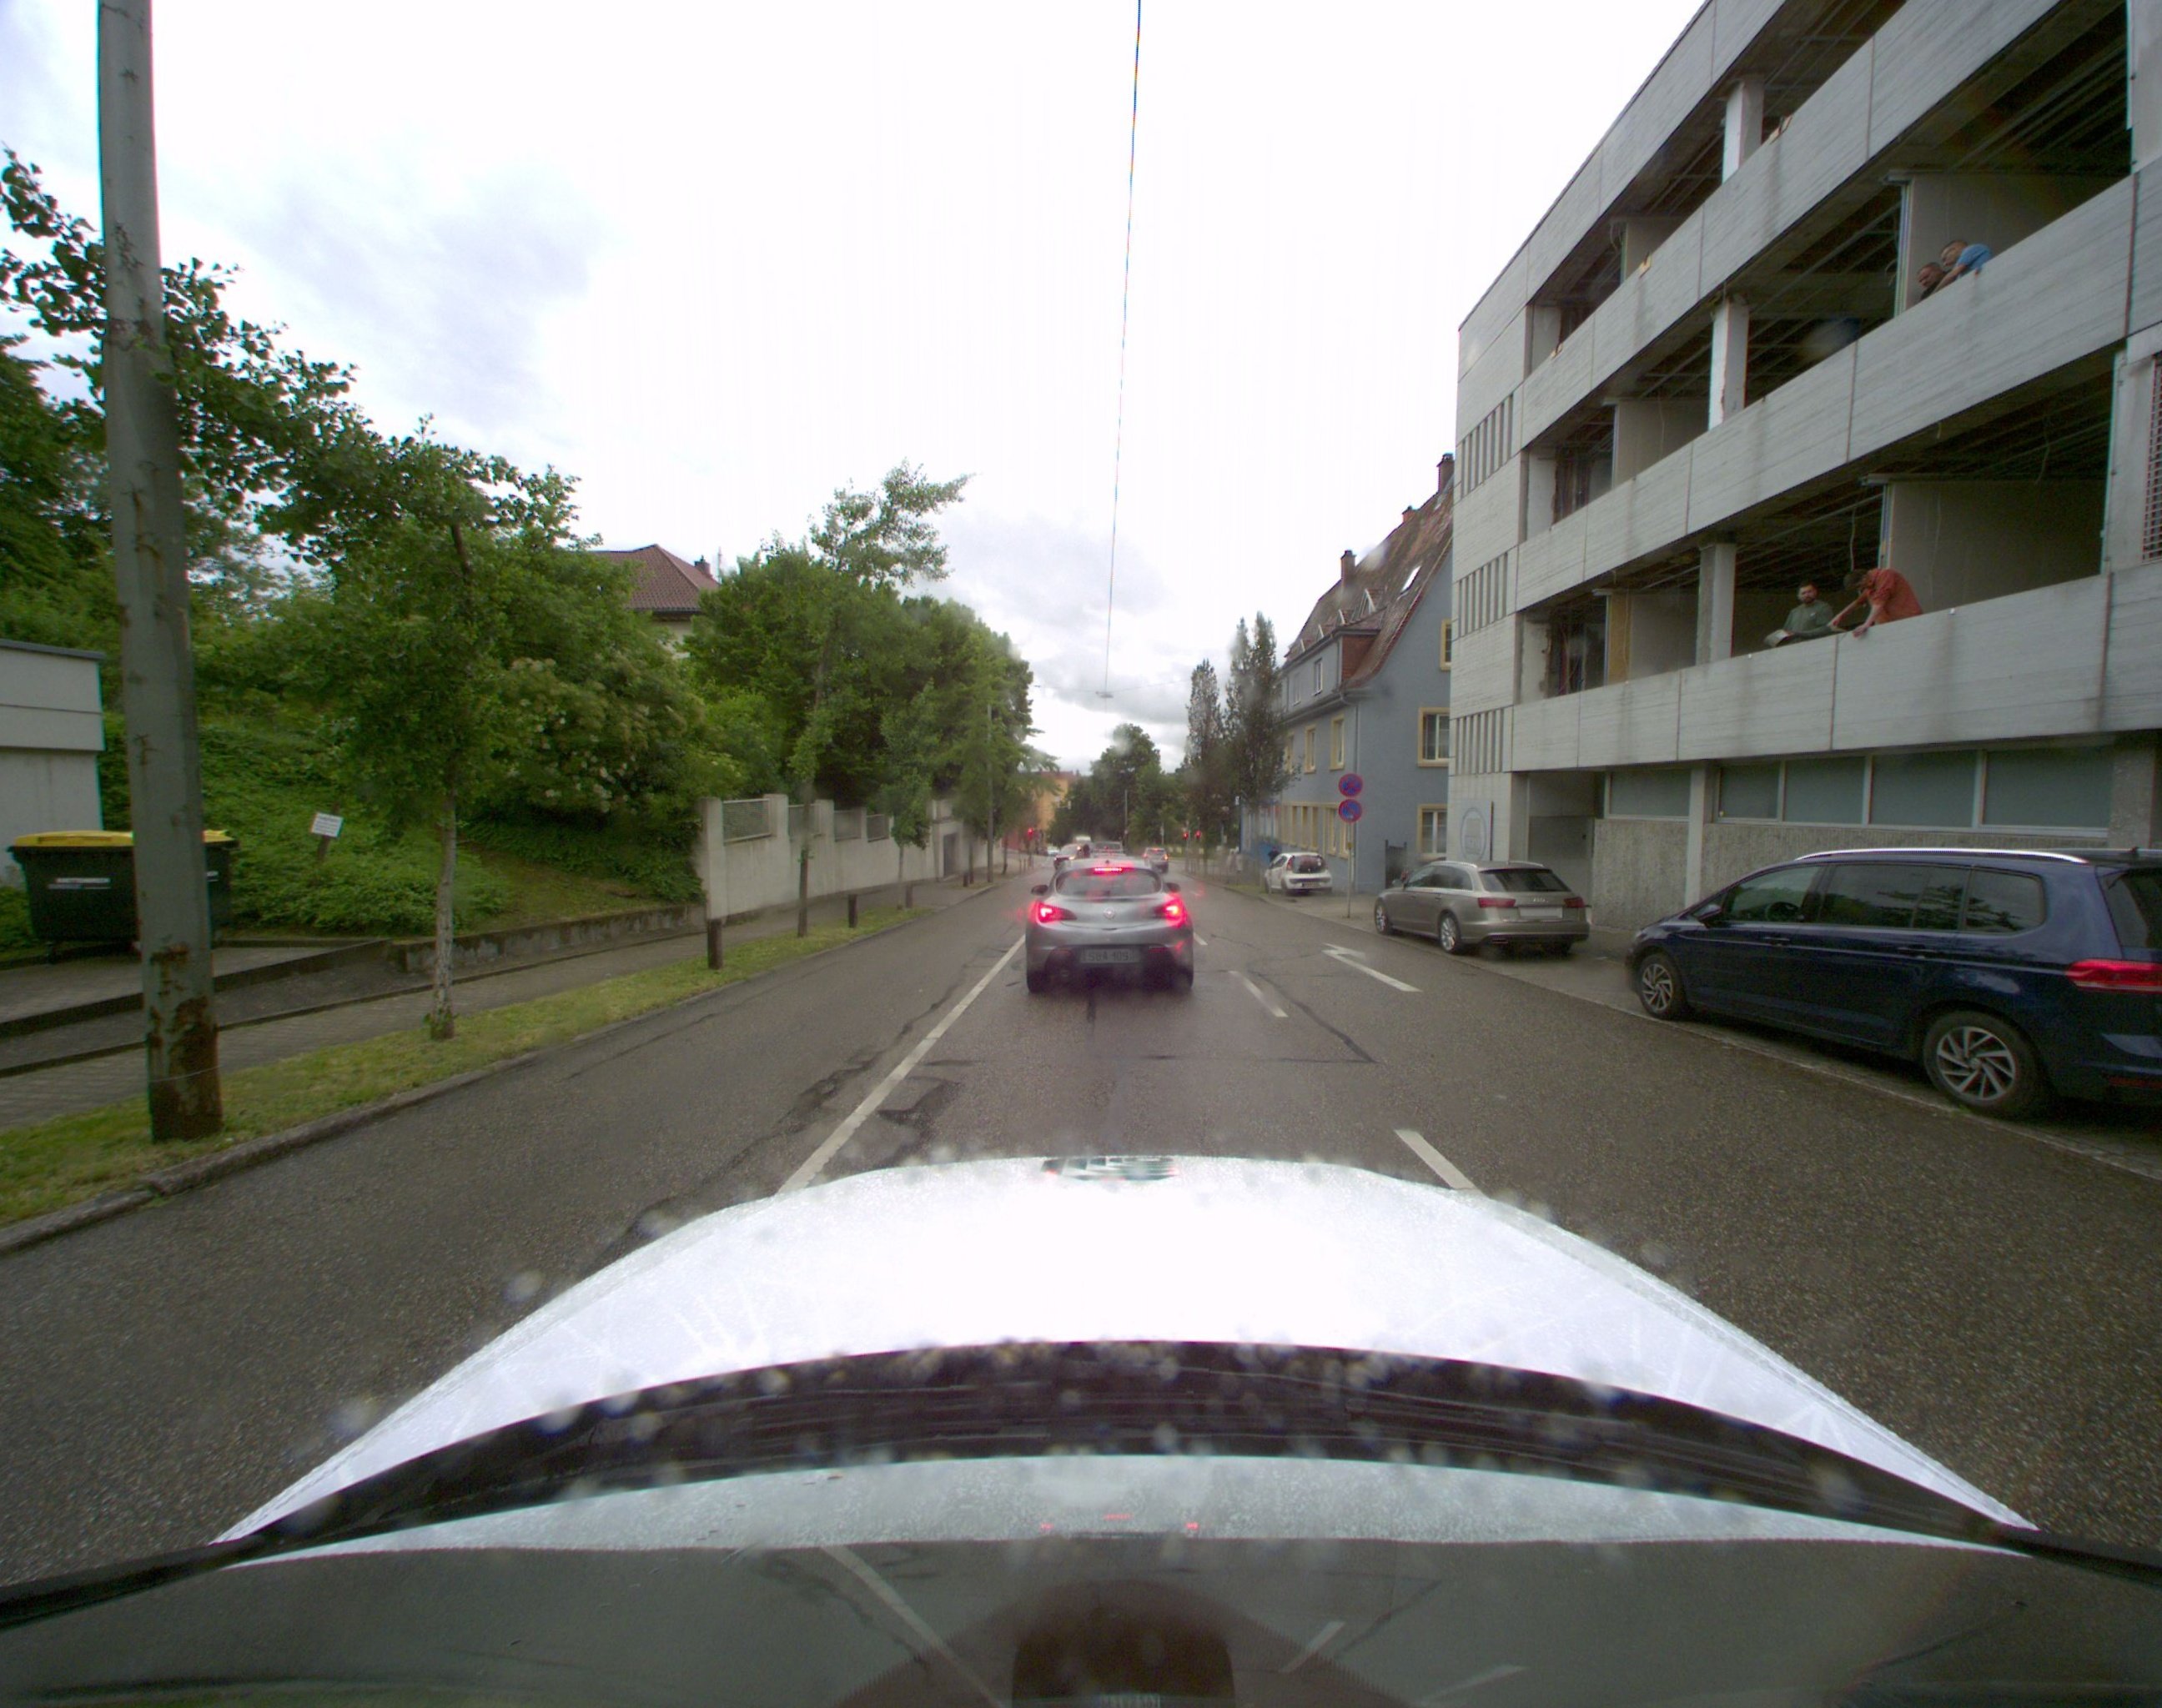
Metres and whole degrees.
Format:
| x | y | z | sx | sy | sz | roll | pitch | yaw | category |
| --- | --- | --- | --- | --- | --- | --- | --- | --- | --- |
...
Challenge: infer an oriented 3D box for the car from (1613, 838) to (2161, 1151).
| x | y | z | sx | sy | sz | roll | pitch | yaw | category |
| --- | --- | --- | --- | --- | --- | --- | --- | --- | --- |
| 6.304 | 0.699 | 6.252 | 1.723 | 1.599 | 4.160 | -1 | 0 | 0 | car |

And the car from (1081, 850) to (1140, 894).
| x | y | z | sx | sy | sz | roll | pitch | yaw | category |
| --- | --- | --- | --- | --- | --- | --- | --- | --- | --- |
| 1.032 | 0.600 | 29.628 | 1.955 | 1.448 | 4.306 | 1 | 0 | 1 | car |

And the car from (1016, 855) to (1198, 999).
| x | y | z | sx | sy | sz | roll | pitch | yaw | category |
| --- | --- | --- | --- | --- | --- | --- | --- | --- | --- |
| 0.266 | 0.737 | 10.167 | 1.831 | 1.434 | 3.879 | 0 | 0 | 0 | car |

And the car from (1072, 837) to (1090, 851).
| x | y | z | sx | sy | sz | roll | pitch | yaw | category |
| --- | --- | --- | --- | --- | --- | --- | --- | --- | --- |
| -0.059 | -1.240 | 100.529 | 1.721 | 1.638 | 3.870 | -1 | 0 | -7 | car |

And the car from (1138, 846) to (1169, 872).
| x | y | z | sx | sy | sz | roll | pitch | yaw | category |
| --- | --- | --- | --- | --- | --- | --- | --- | --- | --- |
| 4.910 | 0.320 | 55.246 | 1.717 | 1.714 | 3.879 | -1 | 0 | 0 | car |

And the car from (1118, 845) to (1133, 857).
| x | y | z | sx | sy | sz | roll | pitch | yaw | category |
| --- | --- | --- | --- | --- | --- | --- | --- | --- | --- |
| 5.948 | -0.390 | 109.045 | 1.718 | 1.638 | 3.877 | -1 | 0 | -2 | car |

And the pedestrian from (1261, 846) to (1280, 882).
| x | y | z | sx | sy | sz | roll | pitch | yaw | category |
| --- | --- | --- | --- | --- | --- | --- | --- | --- | --- |
| 9.190 | 0.471 | 39.465 | 0.780 | 1.729 | 0.651 | 1 | 0 | 1 | pedestrian |

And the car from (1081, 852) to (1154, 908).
| x | y | z | sx | sy | sz | roll | pitch | yaw | category |
| --- | --- | --- | --- | --- | --- | --- | --- | --- | --- |
| 1.029 | 0.700 | 24.243 | 1.955 | 1.448 | 4.306 | 1 | 0 | 1 | car |

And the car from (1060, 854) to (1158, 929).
| x | y | z | sx | sy | sz | roll | pitch | yaw | category |
| --- | --- | --- | --- | --- | --- | --- | --- | --- | --- |
| 0.593 | 0.755 | 18.528 | 1.955 | 1.448 | 4.306 | 1 | 0 | 1 | car |

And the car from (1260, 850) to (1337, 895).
| x | y | z | sx | sy | sz | roll | pitch | yaw | category |
| --- | --- | --- | --- | --- | --- | --- | --- | --- | --- |
| 7.575 | 0.612 | 28.728 | 1.717 | 1.448 | 3.880 | -1 | 0 | 1 | car |

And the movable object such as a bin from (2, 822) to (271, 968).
| x | y | z | sx | sy | sz | roll | pitch | yaw | category |
| --- | --- | --- | --- | --- | --- | --- | --- | --- | --- |
| -10.020 | 0.395 | 8.745 | 1.296 | 1.363 | 1.225 | 0 | 6 | -5 | movable object such as a bin |

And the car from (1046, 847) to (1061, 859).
| x | y | z | sx | sy | sz | roll | pitch | yaw | category |
| --- | --- | --- | --- | --- | --- | --- | --- | --- | --- |
| -3.612 | -0.165 | 106.804 | 1.717 | 1.460 | 3.880 | -1 | 0 | 1 | car |

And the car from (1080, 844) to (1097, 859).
| x | y | z | sx | sy | sz | roll | pitch | yaw | category |
| --- | --- | --- | --- | --- | --- | --- | --- | --- | --- |
| 0.856 | -0.310 | 92.861 | 1.864 | 1.638 | 3.880 | -1 | 0 | 1 | car |

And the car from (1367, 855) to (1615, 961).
| x | y | z | sx | sy | sz | roll | pitch | yaw | category |
| --- | --- | --- | --- | --- | --- | --- | --- | --- | --- |
| 6.640 | 0.771 | 13.859 | 1.956 | 1.448 | 4.526 | 0 | 0 | 0 | car |

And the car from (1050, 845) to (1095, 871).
| x | y | z | sx | sy | sz | roll | pitch | yaw | category |
| --- | --- | --- | --- | --- | --- | --- | --- | --- | --- |
| -0.586 | 0.259 | 60.547 | 1.731 | 1.828 | 4.483 | -2 | 0 | 22 | car |

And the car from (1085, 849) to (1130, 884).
| x | y | z | sx | sy | sz | roll | pitch | yaw | category |
| --- | --- | --- | --- | --- | --- | --- | --- | --- | --- |
| 1.170 | 0.523 | 37.291 | 1.955 | 1.448 | 4.306 | 1 | 0 | 1 | car |

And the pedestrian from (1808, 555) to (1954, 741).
| x | y | z | sx | sy | sz | roll | pitch | yaw | category |
| --- | --- | --- | --- | --- | --- | --- | --- | --- | --- |
| 9.558 | -2.430 | 9.776 | 0.904 | 2.014 | 0.861 | 0 | -1 | 1 | pedestrian |

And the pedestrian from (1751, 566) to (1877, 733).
| x | y | z | sx | sy | sz | roll | pitch | yaw | category |
| --- | --- | --- | --- | --- | --- | --- | --- | --- | --- |
| 9.754 | -2.688 | 10.880 | 0.904 | 2.014 | 0.861 | 0 | -1 | 1 | pedestrian |

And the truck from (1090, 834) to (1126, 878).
| x | y | z | sx | sy | sz | roll | pitch | yaw | category |
| --- | --- | --- | --- | --- | --- | --- | --- | --- | --- |
| 1.510 | 0.086 | 47.292 | 1.955 | 2.429 | 4.936 | 1 | 0 | 1 | truck |
